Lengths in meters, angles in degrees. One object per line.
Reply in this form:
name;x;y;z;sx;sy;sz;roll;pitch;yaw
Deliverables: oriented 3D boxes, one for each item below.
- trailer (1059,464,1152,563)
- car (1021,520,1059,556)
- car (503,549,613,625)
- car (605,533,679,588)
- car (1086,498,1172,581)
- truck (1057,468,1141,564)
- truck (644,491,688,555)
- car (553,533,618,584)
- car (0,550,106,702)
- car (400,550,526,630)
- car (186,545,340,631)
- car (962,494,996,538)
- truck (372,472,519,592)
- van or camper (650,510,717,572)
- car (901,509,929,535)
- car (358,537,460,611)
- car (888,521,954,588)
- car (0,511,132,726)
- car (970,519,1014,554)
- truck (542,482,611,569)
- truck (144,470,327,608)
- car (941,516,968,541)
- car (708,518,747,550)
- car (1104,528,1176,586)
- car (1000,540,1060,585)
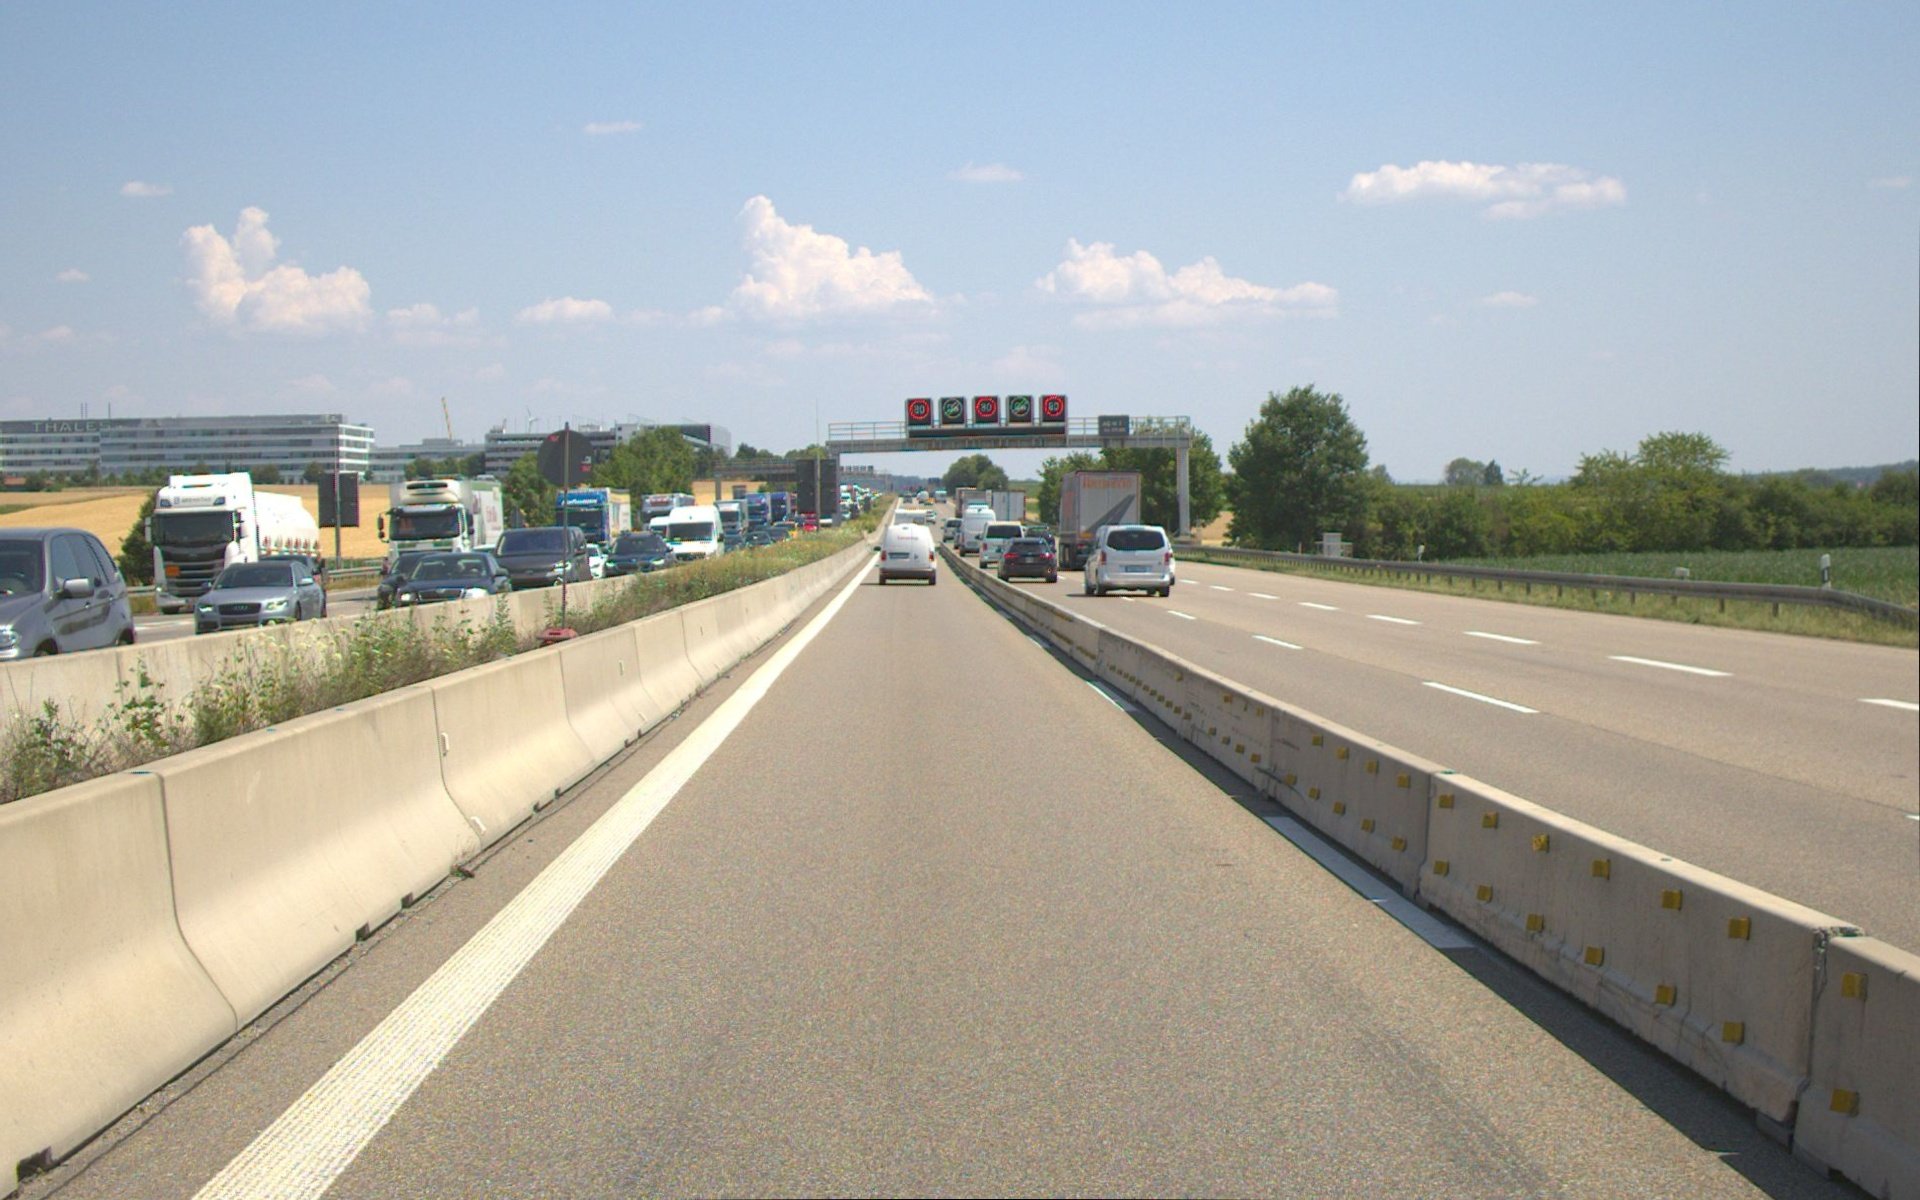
trailer;5.928;-3.492;141.586;3.277;3.953;9.113;0;1;-1
car;4.524;-3.508;195.677;1.993;2.007;4.000;0;1;-1
car;-8.762;-0.321;75.268;1.843;1.564;5.345;0;1;-1
car;-9.287;-1.174;100.762;1.782;1.584;4.541;0;1;-1
car;4.405;-1.579;90.326;1.993;2.112;4.000;0;1;-1
truck;5.867;-3.528;145.574;3.271;3.953;4.913;0;1;-1
truck;-18.952;-4.965;221.670;2.411;4.072;4.660;-1;1;0
car;-13.414;-1.516;123.533;1.886;1.704;5.523;-2;1;-2
car;-12.189;0.283;43.177;1.993;1.809;4.000;0;1;-1
car;-8.803;-0.204;61.142;1.655;1.347;4.267;0;1;-1
car;-12.647;-0.253;62.619;1.846;1.477;4.922;0;1;-1
car;1.011;-4.566;187.680;1.773;2.384;4.000;0;1;-1
truck;-16.878;-2.254;113.796;2.795;3.597;13.289;-3;1;0
van or camper;-10.241;-2.211;127.826;2.035;2.214;7.209;1;1;-1
car;-3.222;-5.587;247.729;1.993;1.829;4.000;0;1;-1
car;-12.742;-0.635;79.680;1.655;1.646;4.665;0;1;-1
car;-1.214;-1.392;105.923;1.993;2.007;4.000;0;1;-1
car;-8.168;0.112;27.747;1.890;1.611;4.821;0;1;-1
car;1.336;-2.687;146.310;1.773;1.442;4.000;0;1;-1
truck;-18.654;-3.651;167.347;2.809;4.114;4.842;-1;1;-1
truck;-21.656;-1.858;103.623;2.899;3.763;13.290;-3;1;-2
car;-0.408;-5.448;262.115;1.993;1.829;4.000;0;1;-1
car;-11.104;-3.153;164.311;1.597;1.464;4.534;-1;1;-1
car;5.659;-1.348;108.516;1.993;1.788;4.000;0;1;-1
car;2.256;-1.221;111.664;1.773;1.442;4.000;0;1;-1
